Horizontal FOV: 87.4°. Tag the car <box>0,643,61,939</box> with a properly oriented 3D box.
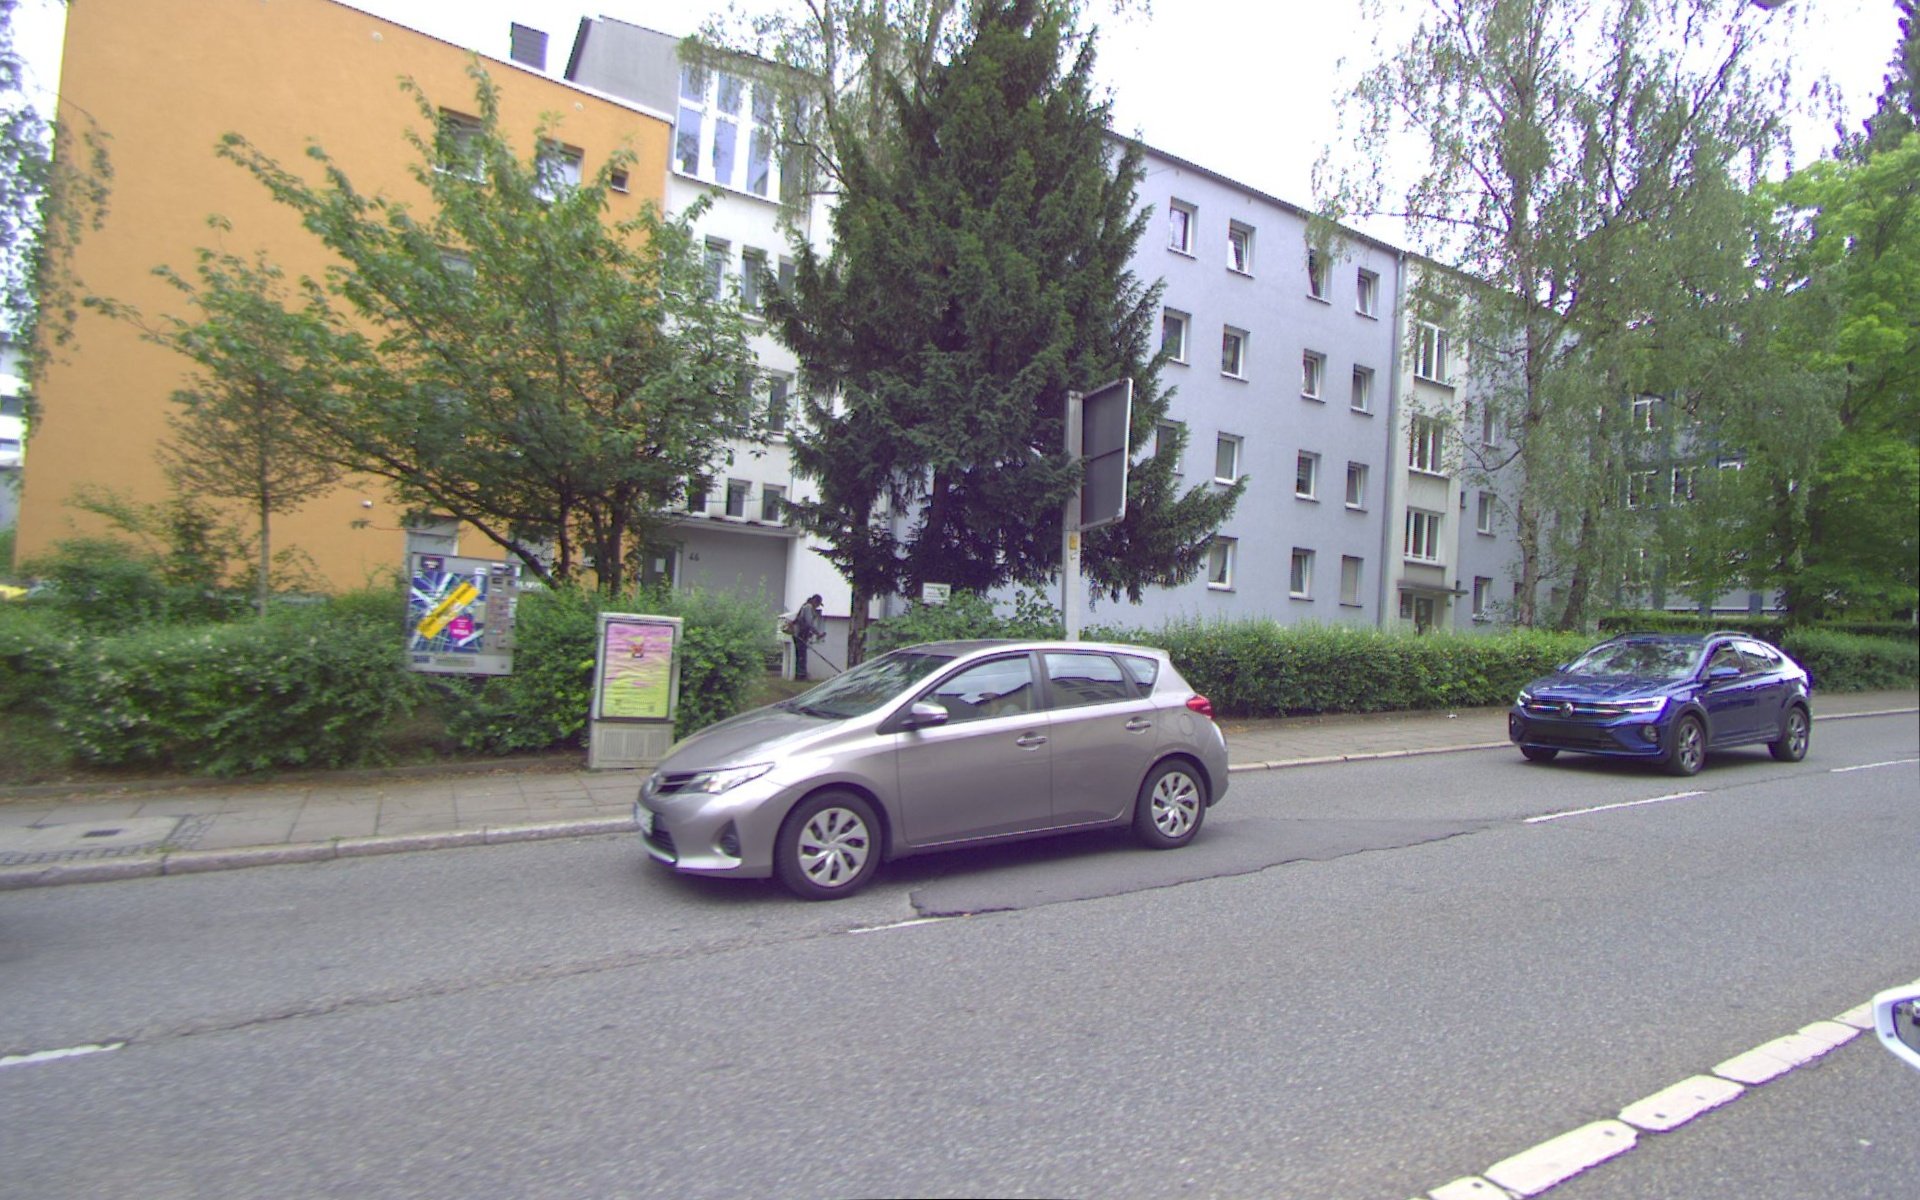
[{"bbox_3d":[-6.321,0.863,3.757,4.024,1.430,1.832,2,-3,-29],"label":"car"}]

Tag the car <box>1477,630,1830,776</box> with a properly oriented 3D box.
[{"bbox_3d":[8.322,1.128,11.989,4.260,1.467,1.831,2,-2,-30],"label":"car"}]

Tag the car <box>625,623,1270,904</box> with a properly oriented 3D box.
[{"bbox_3d":[0.006,0.943,7.147,4.260,1.467,1.831,2,-2,-30],"label":"car"}]

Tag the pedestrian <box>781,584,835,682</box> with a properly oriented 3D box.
[{"bbox_3d":[-2.850,0.602,18.824,0.783,1.778,0.720,-3,1,-25],"label":"pedestrian"}]
